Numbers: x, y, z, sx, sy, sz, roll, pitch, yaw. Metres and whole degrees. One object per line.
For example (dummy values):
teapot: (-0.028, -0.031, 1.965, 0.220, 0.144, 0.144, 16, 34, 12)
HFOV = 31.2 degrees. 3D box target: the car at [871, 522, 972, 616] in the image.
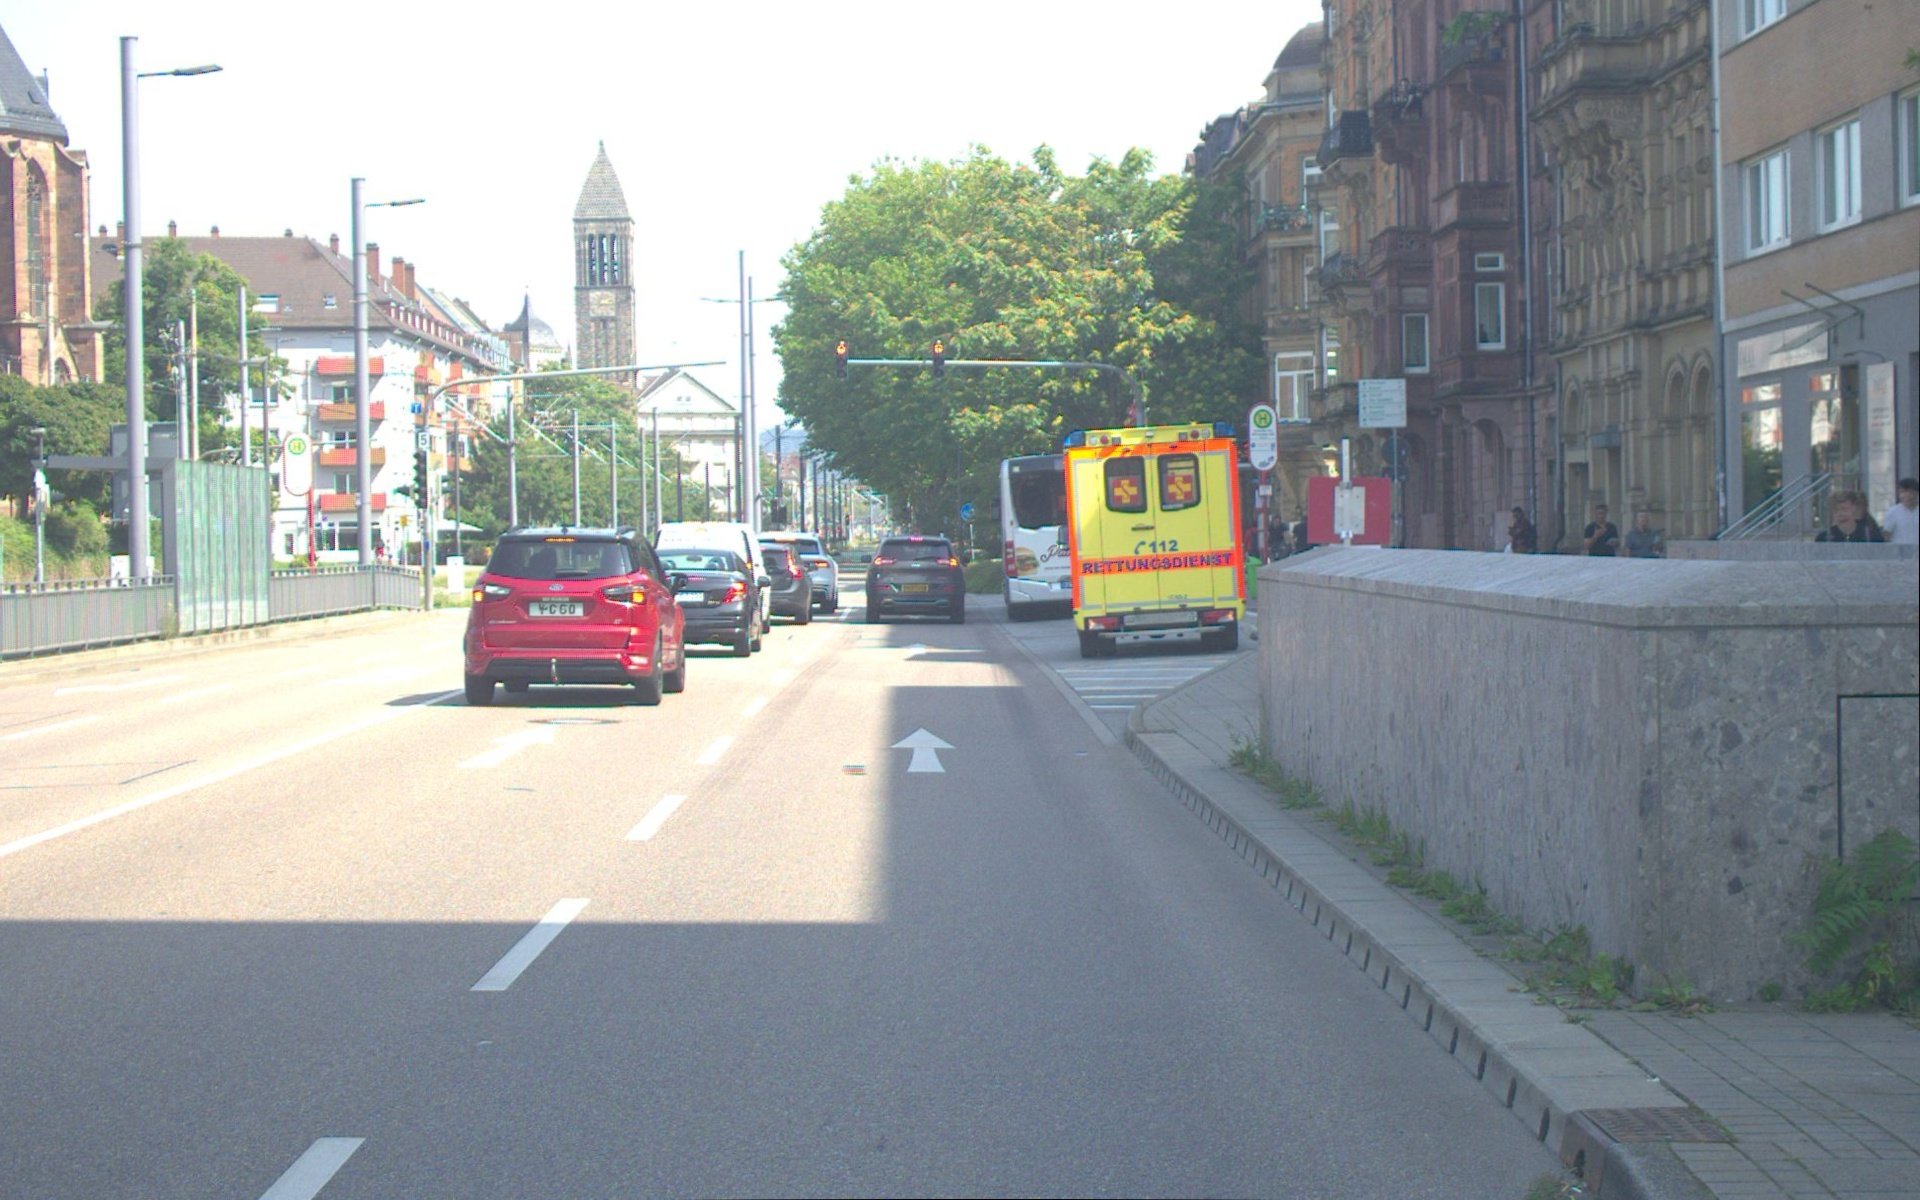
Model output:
car: (-0.757, -0.577, 64.653, 1.790, 1.672, 4.000, -1, 0, -2)

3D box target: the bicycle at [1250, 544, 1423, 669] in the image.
bicycle: (3.715, 0.061, 34.022, 1.674, 1.211, 0.644, 0, 1, 5)

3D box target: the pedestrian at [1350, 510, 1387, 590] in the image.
pedestrian: (8.544, -1.046, 71.850, 0.697, 1.661, 0.603, -1, 1, 2)

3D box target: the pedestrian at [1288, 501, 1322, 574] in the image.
pedestrian: (7.918, -1.435, 78.914, 0.697, 1.661, 1.064, -1, 1, 2)

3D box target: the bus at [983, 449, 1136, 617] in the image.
bus: (1.859, -1.332, 68.909, 2.534, 3.021, 12.437, -1, 1, 0)

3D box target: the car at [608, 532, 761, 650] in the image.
car: (-3.527, -0.150, 44.656, 1.790, 1.426, 4.001, -1, 1, -2)

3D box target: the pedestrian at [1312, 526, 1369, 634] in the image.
pedestrian: (5.898, -0.315, 53.301, 0.698, 1.661, 0.602, 0, 1, 25)

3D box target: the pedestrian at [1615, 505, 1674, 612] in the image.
pedestrian: (9.665, -0.591, 48.559, 0.643, 1.488, 0.789, -1, 1, -1)

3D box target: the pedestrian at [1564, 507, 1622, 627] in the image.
pedestrian: (8.946, -0.469, 48.580, 0.643, 1.679, 0.789, -1, 1, -1)

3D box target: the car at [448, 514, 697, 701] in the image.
car: (-3.565, 0.023, 32.297, 1.762, 1.612, 4.082, -1, 1, 1)

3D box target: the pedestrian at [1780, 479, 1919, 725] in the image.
pedestrian: (6.554, 0.003, 25.276, 0.850, 1.723, 0.971, -2, 3, 6)

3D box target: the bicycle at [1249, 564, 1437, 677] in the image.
bicycle: (3.695, 0.196, 33.261, 1.776, 1.068, 0.644, 0, 1, 4)

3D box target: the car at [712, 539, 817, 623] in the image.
car: (-3.554, -0.345, 63.055, 1.790, 1.467, 4.000, -1, 0, -2)

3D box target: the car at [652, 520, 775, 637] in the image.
car: (-3.901, -0.347, 54.914, 1.790, 1.774, 4.000, -1, 0, -2)

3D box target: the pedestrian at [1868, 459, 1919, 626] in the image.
pedestrian: (10.401, -0.633, 37.613, 0.599, 1.789, 0.880, -3, 1, -1)

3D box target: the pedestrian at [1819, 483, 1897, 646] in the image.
pedestrian: (9.832, -0.393, 37.660, 0.577, 1.744, 0.679, -3, 1, -1)

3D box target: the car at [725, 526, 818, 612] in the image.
car: (-3.856, -0.633, 70.710, 1.790, 1.692, 4.000, -1, 0, -2)

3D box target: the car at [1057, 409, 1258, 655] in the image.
car: (2.527, -0.889, 44.104, 2.299, 2.878, 5.599, -2, 1, 3)

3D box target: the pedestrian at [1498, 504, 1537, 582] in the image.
pedestrian: (11.590, -1.185, 71.493, 0.622, 1.587, 0.696, -1, 1, -6)

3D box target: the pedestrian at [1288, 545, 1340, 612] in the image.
pedestrian: (9.761, -0.607, 94.864, 1.249, 1.745, 1.526, -1, 3, 0)
